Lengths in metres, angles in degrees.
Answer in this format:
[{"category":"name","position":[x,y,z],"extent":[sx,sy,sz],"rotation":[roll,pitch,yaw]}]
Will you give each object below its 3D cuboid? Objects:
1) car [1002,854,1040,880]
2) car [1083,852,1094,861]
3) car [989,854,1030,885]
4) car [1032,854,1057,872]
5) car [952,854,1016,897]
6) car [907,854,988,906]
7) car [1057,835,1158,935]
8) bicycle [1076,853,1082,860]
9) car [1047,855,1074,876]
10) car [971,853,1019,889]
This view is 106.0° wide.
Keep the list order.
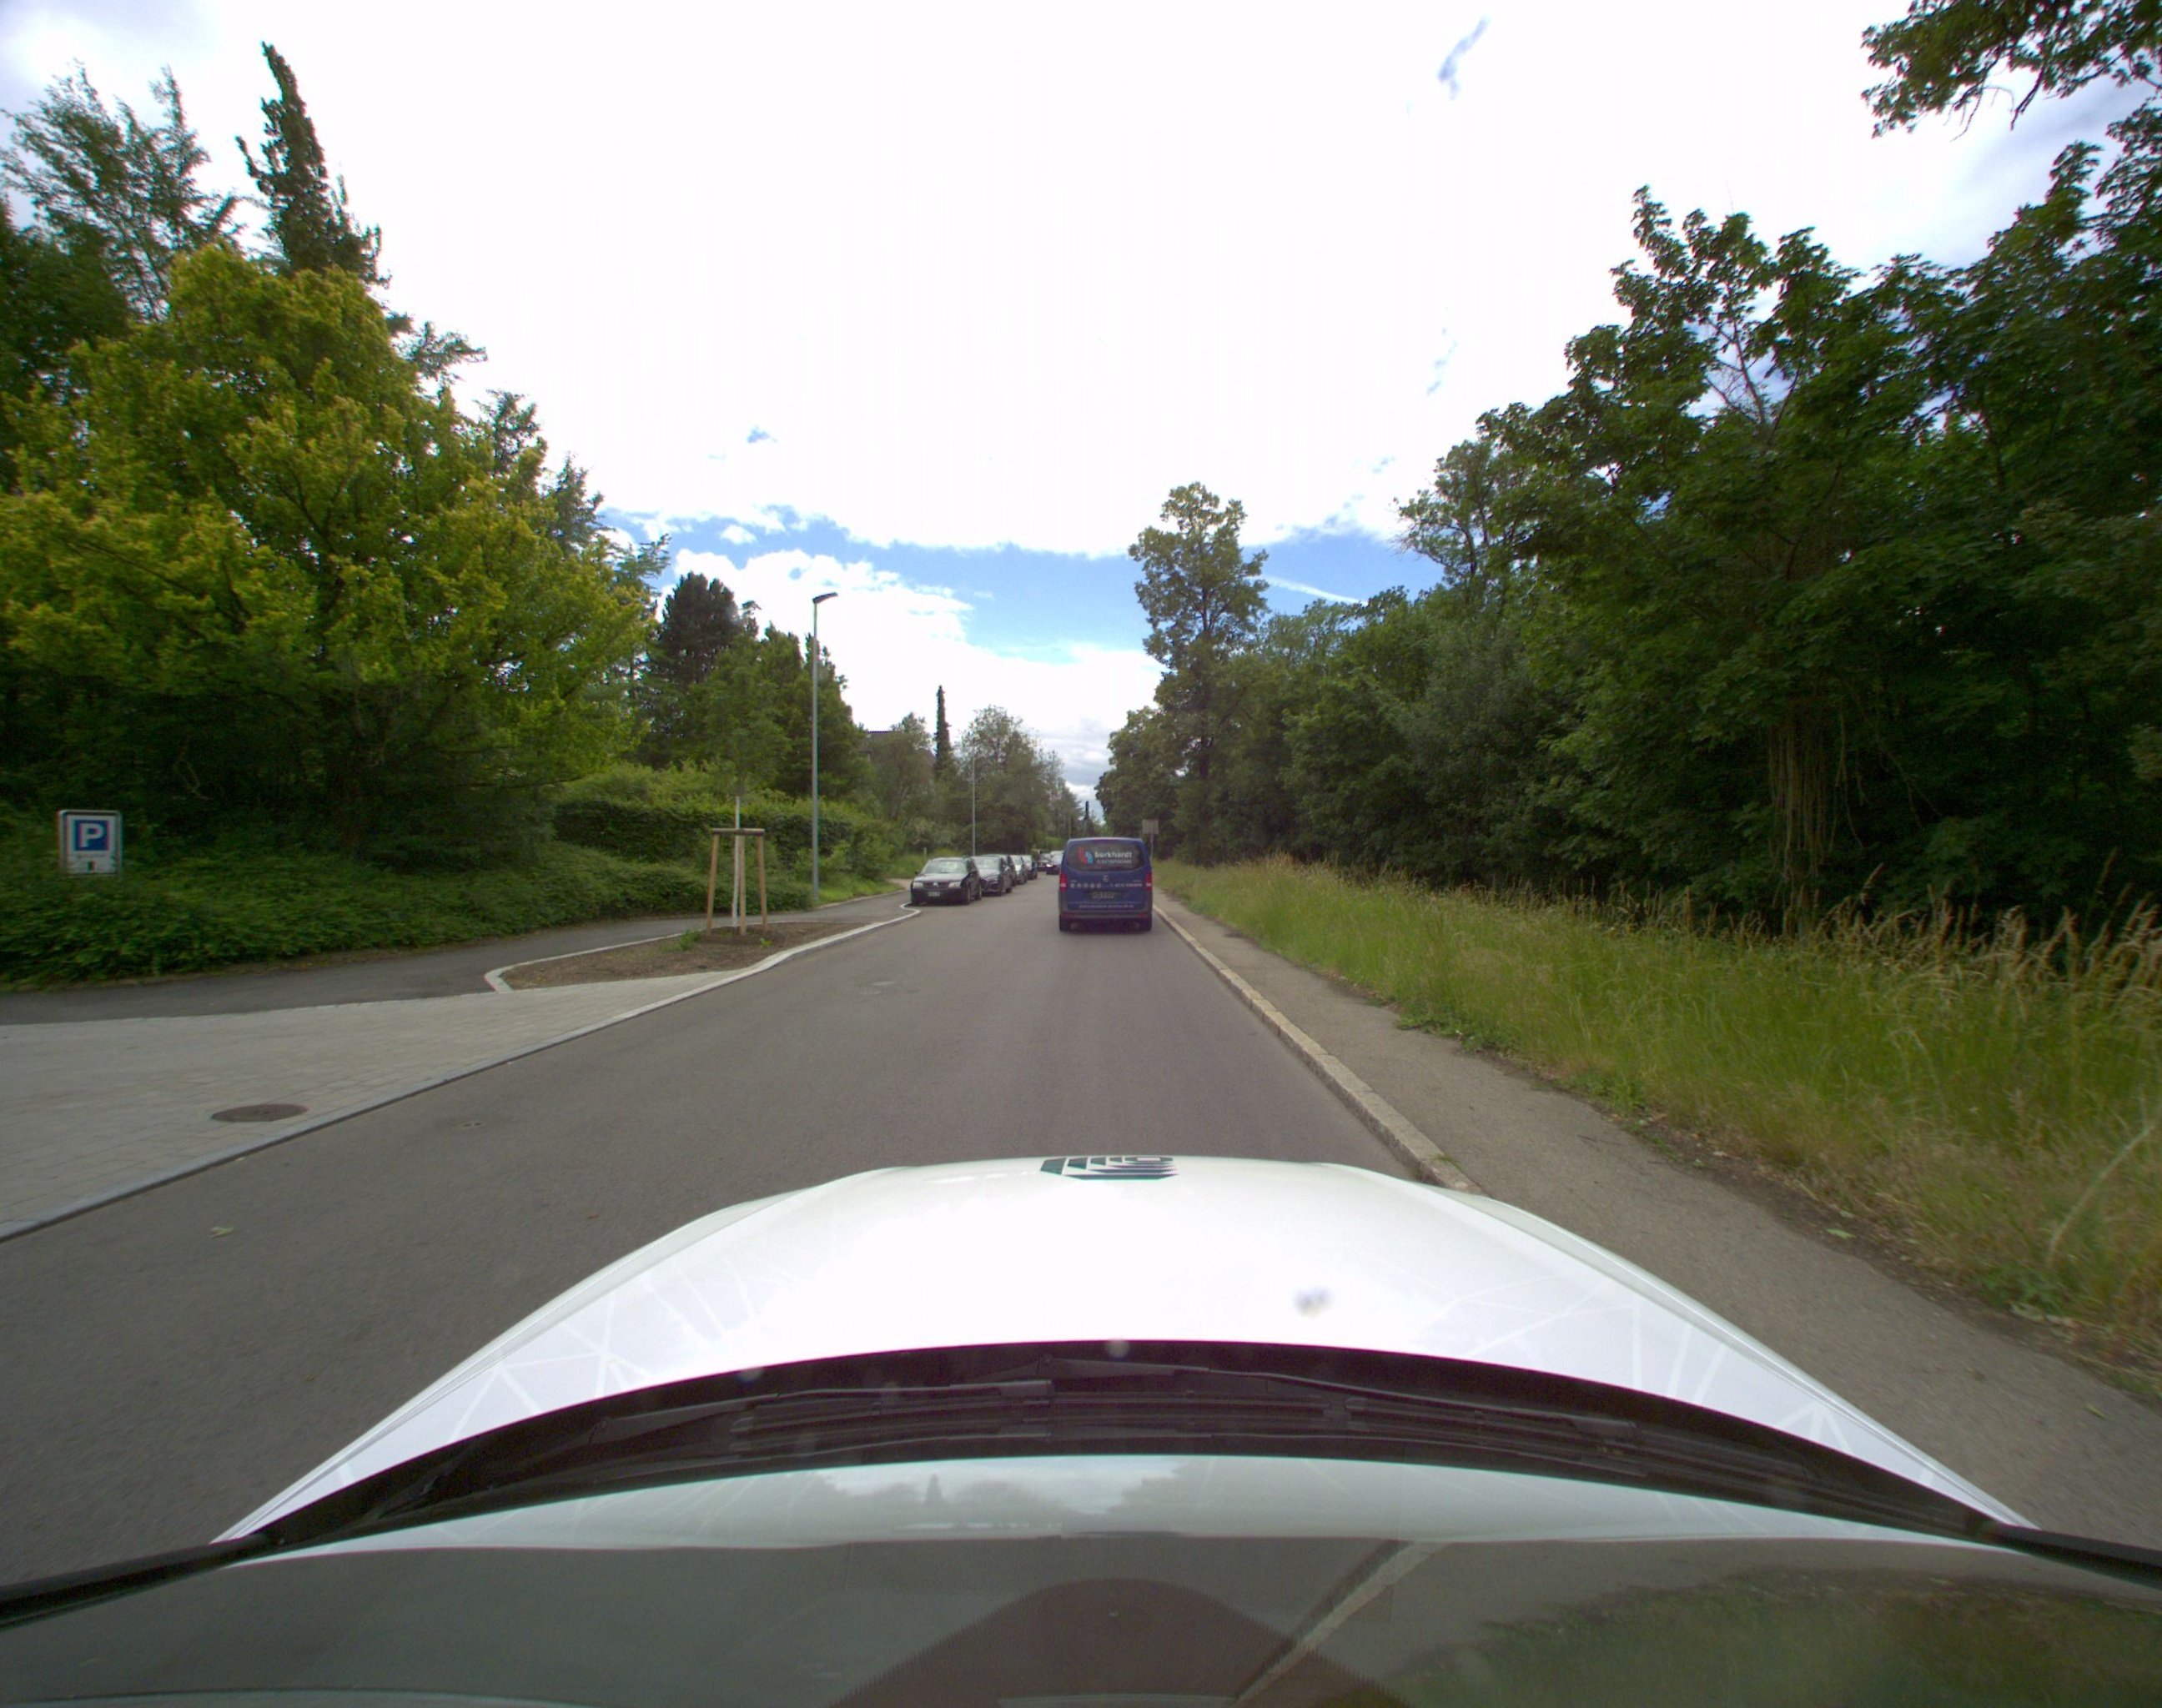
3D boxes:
[{"category":"car","position":[-3.430,0.719,47.338],"extent":[1.772,1.432,5.105],"rotation":[1,0,0]},{"category":"car","position":[1.435,0.502,157.676],"extent":[1.827,1.631,4.306],"rotation":[2,0,5]},{"category":"car","position":[-3.545,0.724,40.848],"extent":[1.618,1.432,4.351],"rotation":[-1,0,0]},{"category":"car","position":[-2.994,0.720,67.560],"extent":[1.616,1.450,3.972],"rotation":[0,0,3]},{"category":"car","position":[-3.564,0.747,30.729],"extent":[1.700,1.482,4.498],"rotation":[-1,0,2]},{"category":"car","position":[-4.100,0.751,25.764],"extent":[1.676,1.482,4.694],"rotation":[-1,0,1]},{"category":"car","position":[0.475,0.543,17.395],"extent":[1.883,1.843,3.999],"rotation":[1,2,-1]},{"category":"bicycle","position":[-0.374,0.545,154.848],"extent":[0.902,1.252,2.920],"rotation":[3,0,5]},{"category":"car","position":[-1.473,0.822,58.904],"extent":[1.774,1.426,4.489],"rotation":[1,0,0]},{"category":"car","position":[-3.734,0.711,35.956],"extent":[1.618,1.482,4.001],"rotation":[-1,0,1]}]
